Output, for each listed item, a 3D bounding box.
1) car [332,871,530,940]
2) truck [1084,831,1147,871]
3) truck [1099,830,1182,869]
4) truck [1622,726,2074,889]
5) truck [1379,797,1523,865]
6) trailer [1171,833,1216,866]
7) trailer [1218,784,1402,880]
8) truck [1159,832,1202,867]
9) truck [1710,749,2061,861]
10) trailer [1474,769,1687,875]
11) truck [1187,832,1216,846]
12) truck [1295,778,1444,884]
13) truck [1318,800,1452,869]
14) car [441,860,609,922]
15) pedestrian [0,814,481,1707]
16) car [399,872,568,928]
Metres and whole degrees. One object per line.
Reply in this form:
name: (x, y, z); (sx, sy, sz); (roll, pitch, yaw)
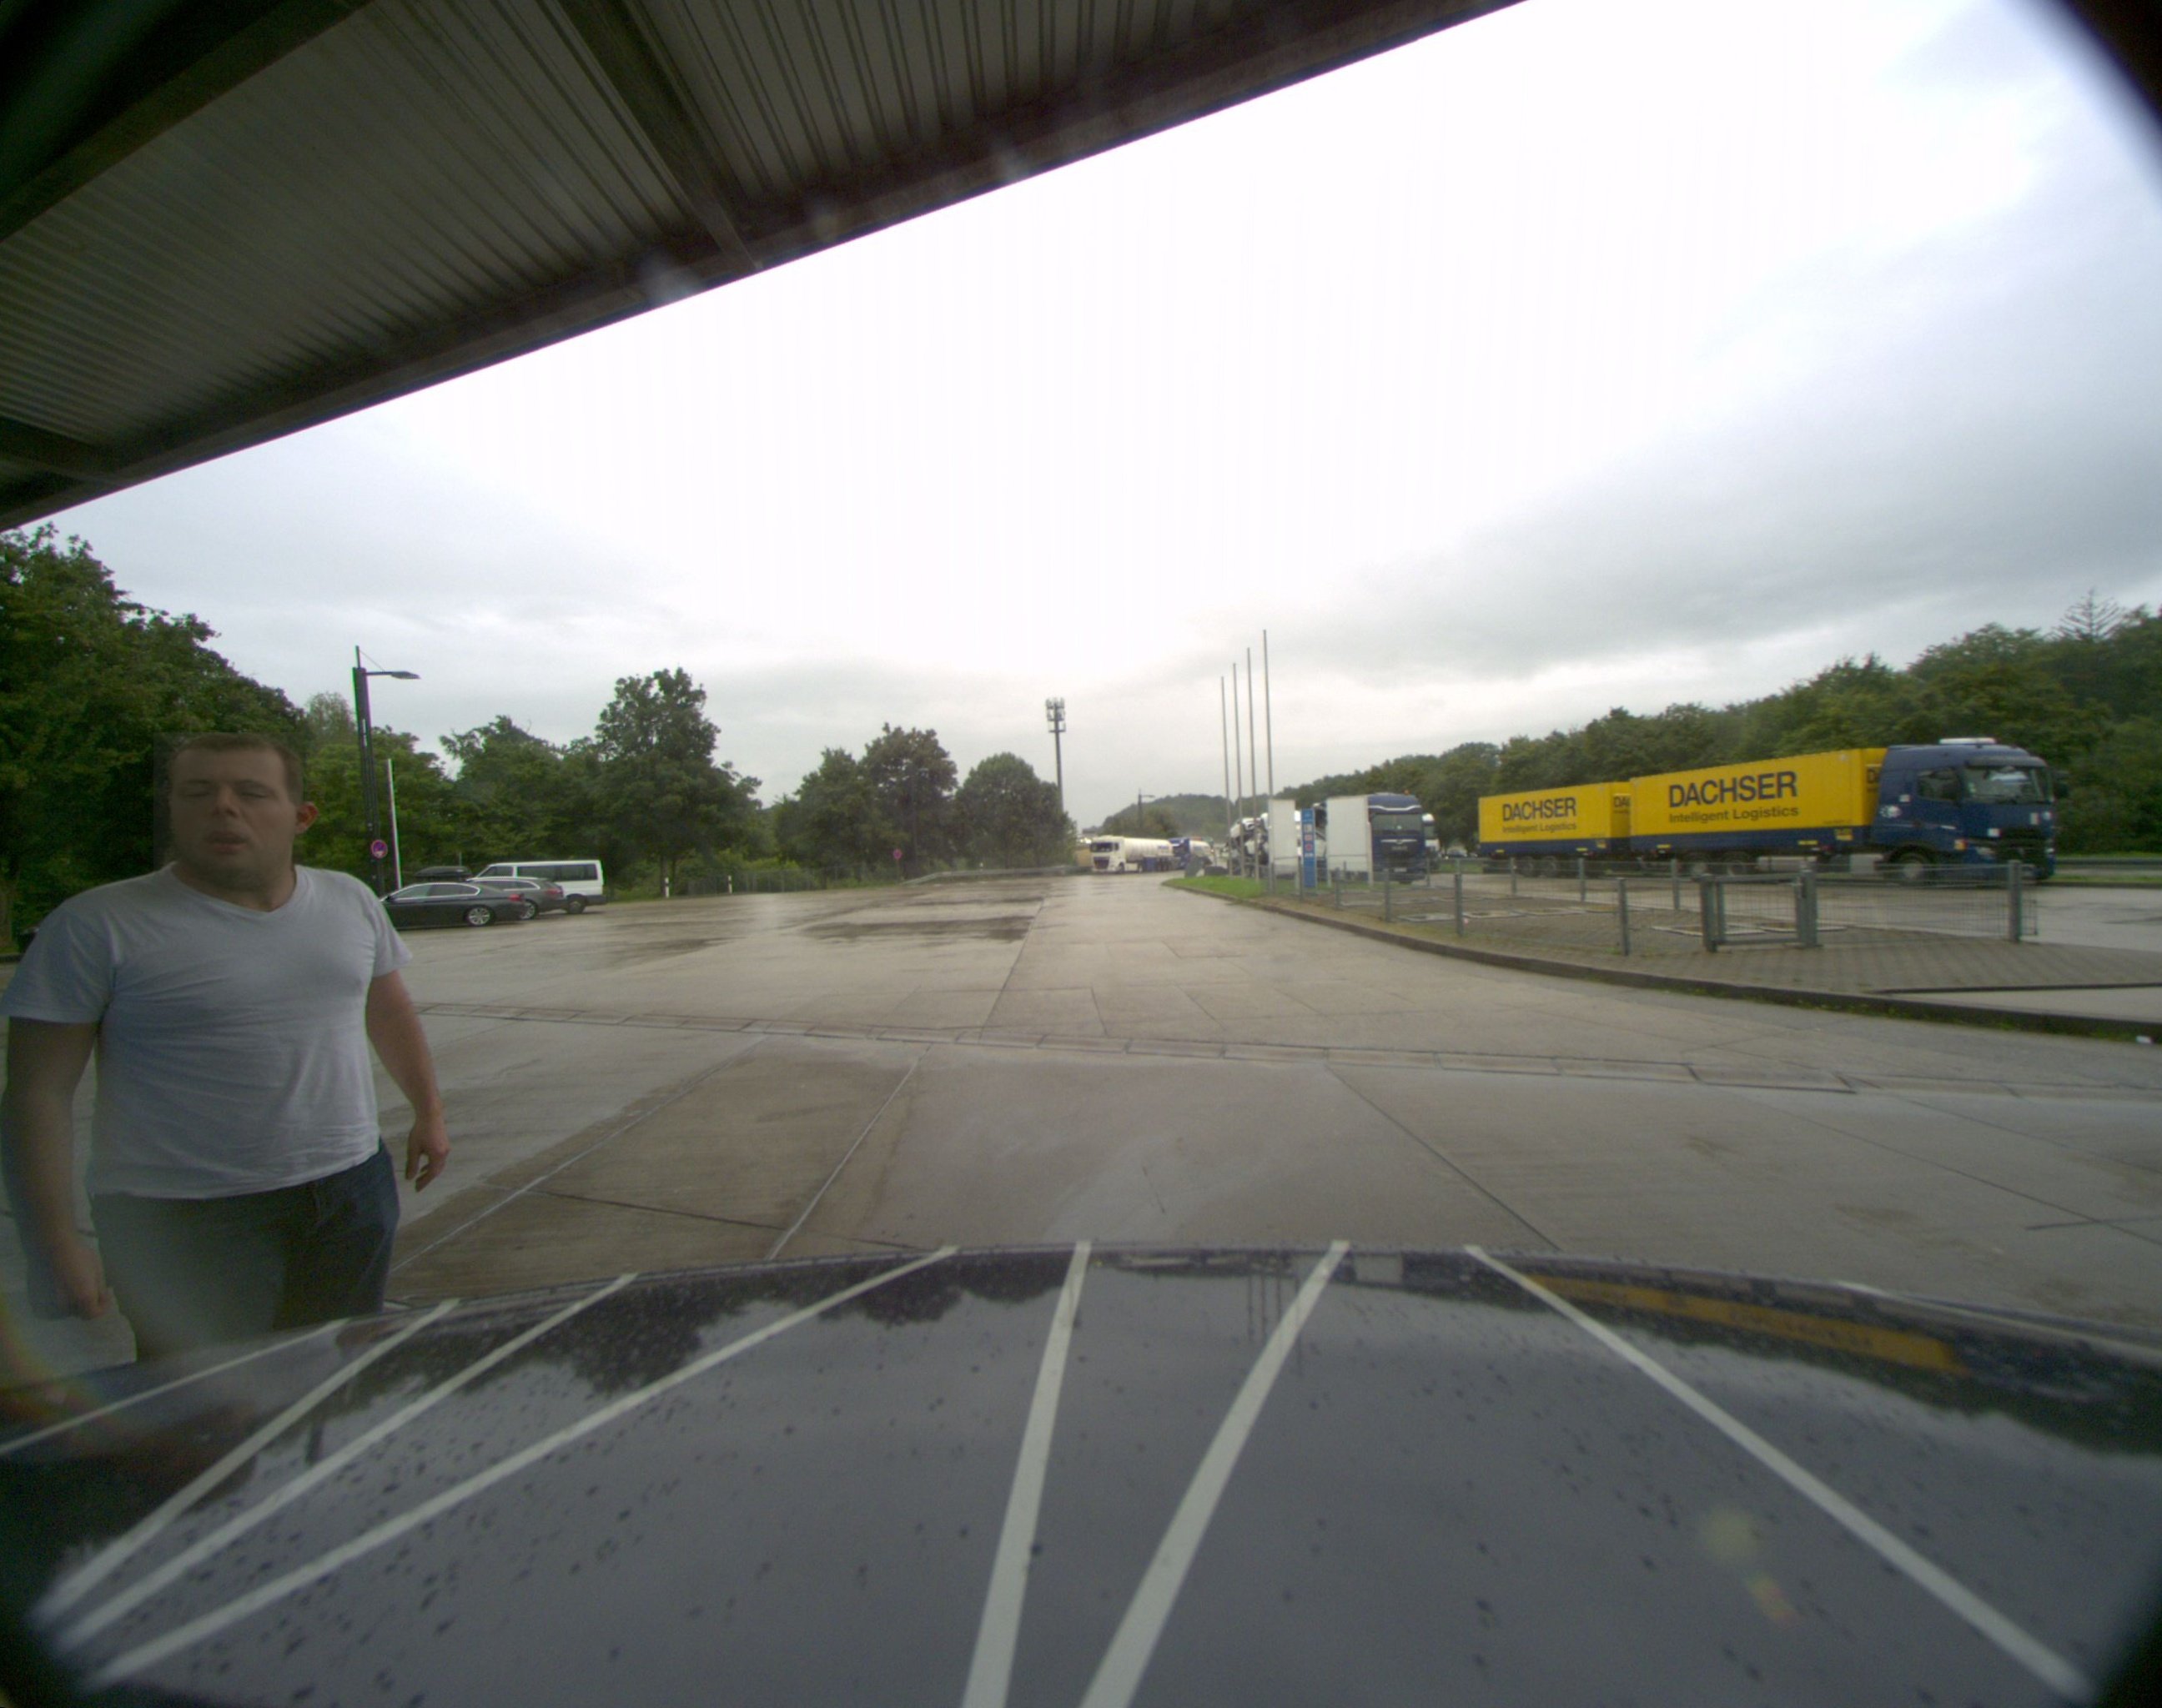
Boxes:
car: (-19.127, 1.451, 22.648); (4.187, 1.720, 1.995); (-2, 0, -33)
truck: (3.311, -0.356, 71.444); (3.243, 3.544, 6.114); (-2, 1, 31)
truck: (6.195, -0.523, 76.356); (3.243, 3.544, 11.995); (-2, 1, 31)
truck: (23.055, -1.219, 24.315); (2.774, 4.009, 10.632); (-2, 1, -8)
truck: (24.356, -1.407, 50.962); (2.991, 4.009, 10.464); (-2, 1, -10)
trailer: (13.664, -0.652, 91.448); (2.898, 3.618, 10.586); (-2, 1, 22)
trailer: (11.369, -1.002, 40.945); (2.990, 4.009, 16.597); (-2, 1, -7)
truck: (11.323, -0.525, 85.740); (3.045, 3.745, 6.475); (-2, 1, 23)
truck: (33.768, -1.826, 32.938); (2.991, 4.009, 10.464); (-2, 1, -10)
trailer: (21.778, -1.279, 33.998); (2.774, 4.009, 8.853); (-2, 1, -8)
truck: (31.135, -3.837, 197.205); (3.251, 3.543, 14.656); (-2, 1, -7)
truck: (12.298, -0.926, 33.254); (2.990, 4.009, 7.259); (-2, 1, -7)
truck: (19.753, -1.223, 50.438); (2.991, 4.009, 10.464); (-2, 1, -10)
car: (-20.268, 1.283, 27.920); (4.780, 1.974, 2.010); (-2, 0, -36)
pedestrian: (-1.728, 0.837, 1.460); (0.493, 1.800, 0.634); (-2, 2, 10)
car: (-19.659, 1.455, 25.289); (4.187, 1.547, 1.995); (-2, 0, -33)
